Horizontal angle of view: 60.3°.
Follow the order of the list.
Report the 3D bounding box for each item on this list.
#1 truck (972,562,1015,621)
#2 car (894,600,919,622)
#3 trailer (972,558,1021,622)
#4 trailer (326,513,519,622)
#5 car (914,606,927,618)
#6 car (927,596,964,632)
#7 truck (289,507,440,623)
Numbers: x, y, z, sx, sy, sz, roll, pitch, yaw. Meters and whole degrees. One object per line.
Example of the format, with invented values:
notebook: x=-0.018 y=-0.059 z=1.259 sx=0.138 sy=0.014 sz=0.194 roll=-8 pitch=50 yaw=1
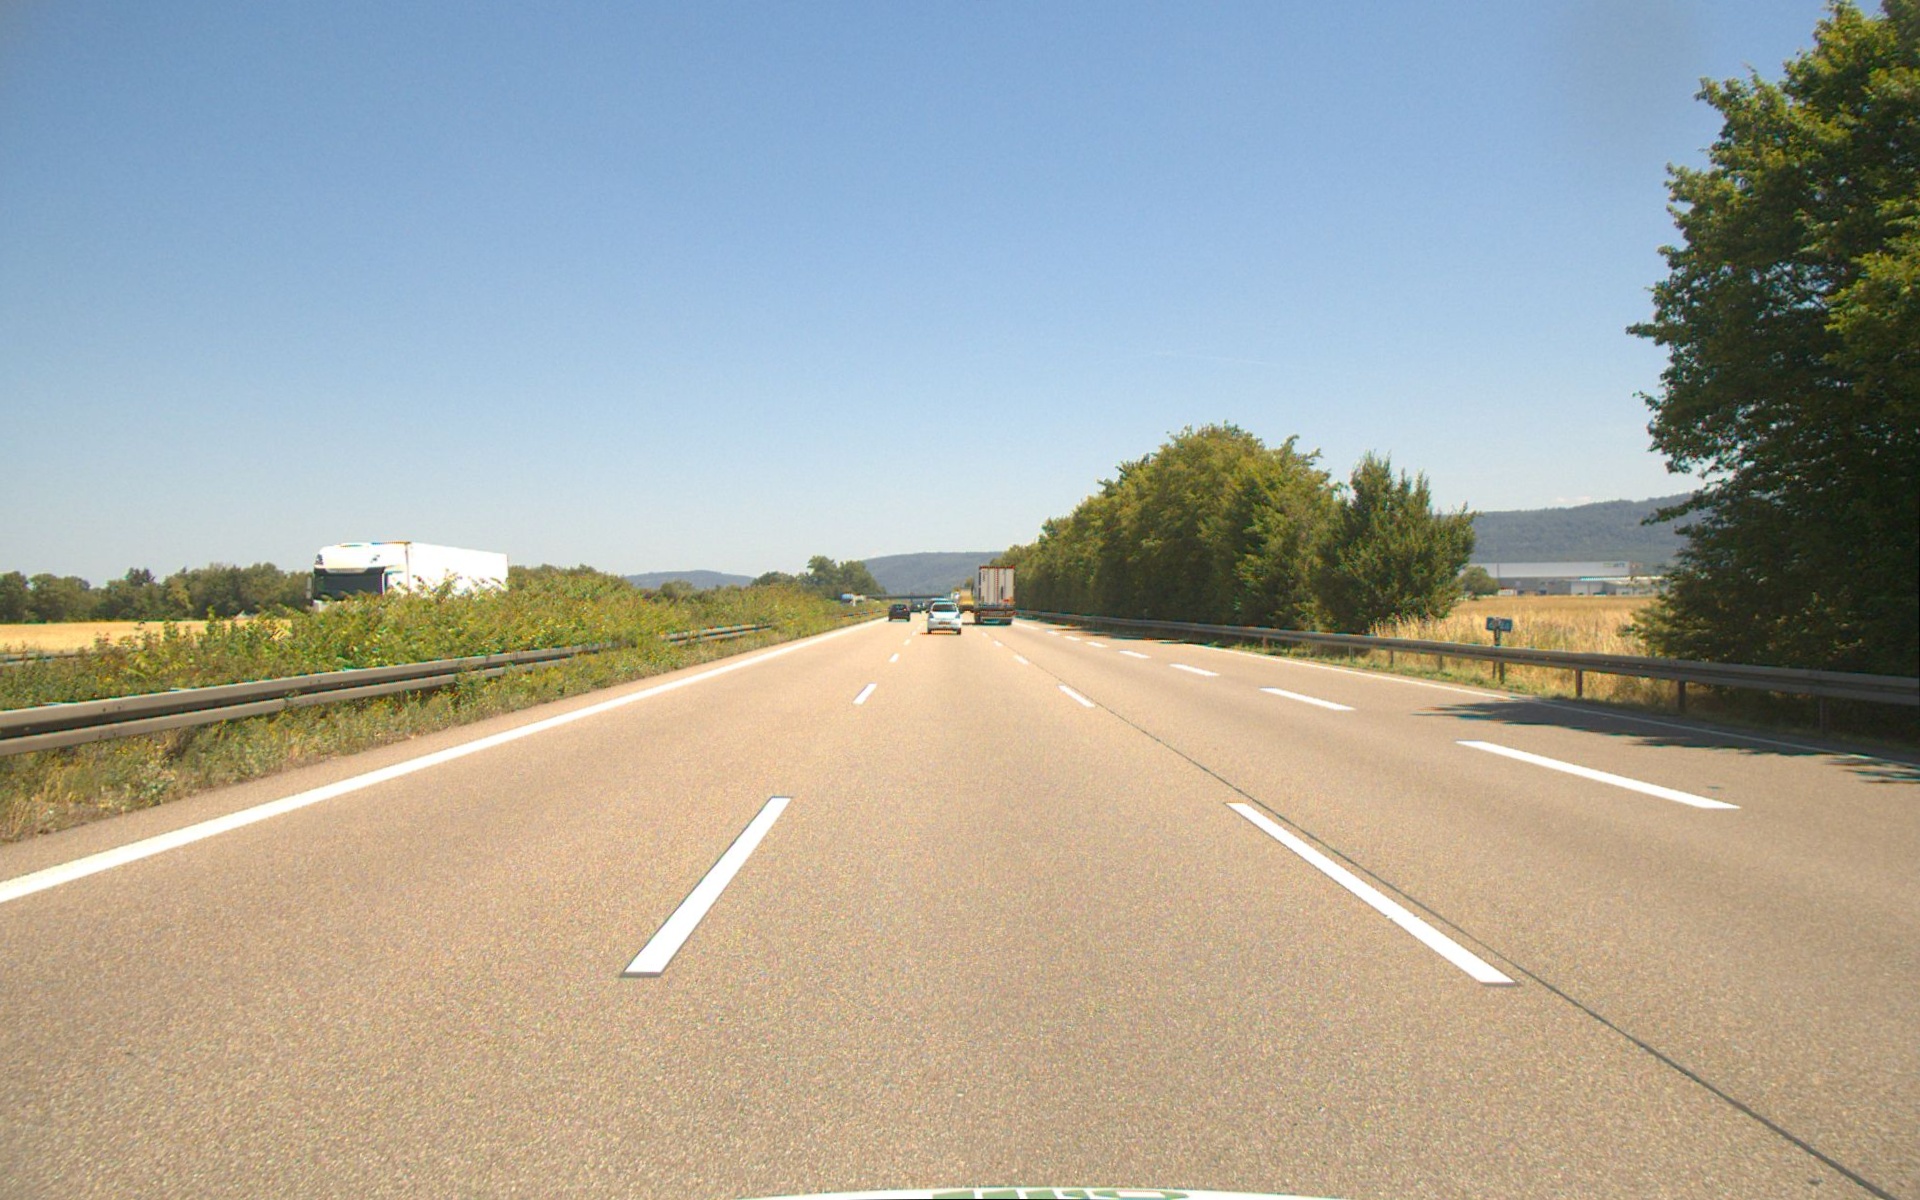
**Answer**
truck: x=2.571 y=-0.667 z=129.650 sx=3.152 sy=4.421 sz=6.589 roll=1 pitch=0 yaw=0
car: x=-4.410 y=0.912 z=135.988 sx=1.953 sy=1.742 sz=3.998 roll=1 pitch=0 yaw=-2
trailer: x=2.616 y=-0.685 z=122.247 sx=3.152 sy=4.421 sz=13.627 roll=1 pitch=0 yaw=0
trailer: x=-20.799 y=-1.122 z=65.317 sx=3.115 sy=3.763 sz=14.378 roll=1 pitch=0 yaw=-1
car: x=-5.696 y=1.731 z=238.394 sx=1.759 sy=1.578 sz=3.999 roll=0 pitch=-1 yaw=-1
car: x=-0.731 y=0.654 z=81.020 sx=1.697 sy=1.713 sz=3.999 roll=-1 pitch=0 yaw=-2
truck: x=-20.653 y=-1.157 z=57.766 sx=3.115 sy=3.763 sz=6.034 roll=1 pitch=0 yaw=-1
